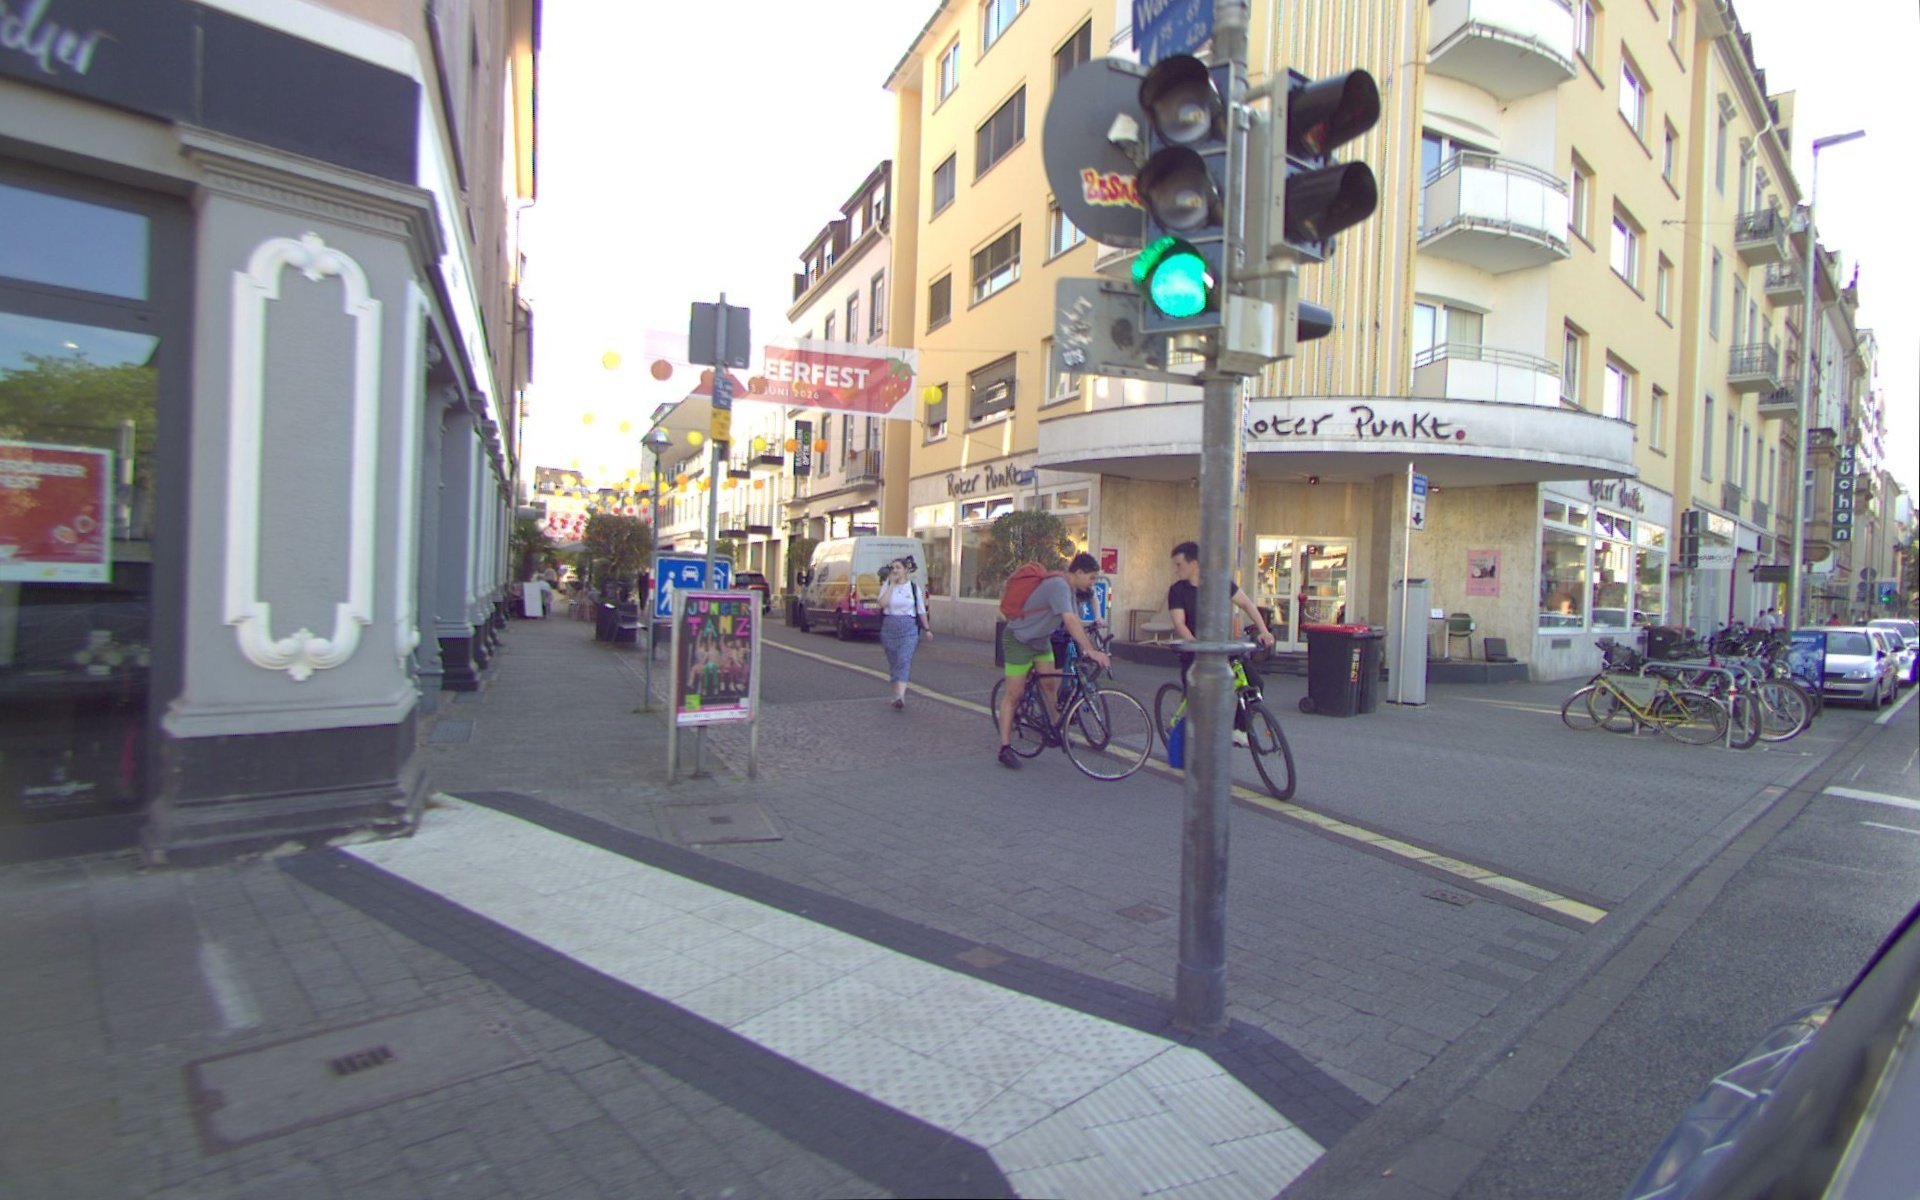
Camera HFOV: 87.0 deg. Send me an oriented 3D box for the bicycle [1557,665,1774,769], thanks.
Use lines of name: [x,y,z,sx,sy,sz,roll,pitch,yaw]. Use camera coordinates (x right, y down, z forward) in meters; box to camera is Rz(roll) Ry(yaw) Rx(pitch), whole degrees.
bicycle: [7.619,1.222,10.977,1.841,0.841,0.730,4,1,41]

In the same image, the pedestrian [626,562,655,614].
pedestrian: [-10.739,-0.417,34.027,0.796,1.701,0.672,3,0,-24]

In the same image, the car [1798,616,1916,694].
car: [19.441,1.121,21.885,1.737,1.443,3.937,3,1,43]

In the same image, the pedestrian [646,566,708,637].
pedestrian: [-6.213,0.024,22.192,1.089,1.498,1.086,1,1,-26]

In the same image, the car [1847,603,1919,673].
car: [27.941,1.112,30.216,1.991,1.902,3.942,3,1,40]

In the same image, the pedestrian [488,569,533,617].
pedestrian: [-12.314,-0.188,27.738,0.814,1.266,0.763,3,1,34]

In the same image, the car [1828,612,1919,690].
car: [23.665,1.261,25.840,1.994,1.756,4.132,3,1,44]

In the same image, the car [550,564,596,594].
car: [-21.105,-1.155,55.068,1.747,1.538,4.005,1,2,-30]

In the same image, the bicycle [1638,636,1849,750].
bicycle: [9.795,1.116,12.718,0.742,1.172,1.960,2,1,-43]

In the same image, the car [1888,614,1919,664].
car: [41.587,1.688,43.718,1.995,2.039,4.124,3,1,45]

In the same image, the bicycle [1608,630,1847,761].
bicycle: [8.921,1.051,11.831,2.136,1.259,0.700,4,1,42]

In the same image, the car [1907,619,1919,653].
car: [53.198,2.001,55.221,3.933,1.749,1.996,2,1,-44]

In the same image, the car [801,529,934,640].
car: [-2.438,-0.415,25.372,2.026,2.499,4.706,0,1,-22]

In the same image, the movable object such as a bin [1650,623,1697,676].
movable object such as a bin: [16.770,1.147,23.776,0.944,1.175,0.702,2,1,-43]

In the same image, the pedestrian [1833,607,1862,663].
pedestrian: [31.786,1.255,36.246,0.693,1.930,0.892,3,1,43]

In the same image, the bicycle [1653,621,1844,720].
bicycle: [11.291,0.972,14.553,0.671,1.196,2.047,2,1,-43]

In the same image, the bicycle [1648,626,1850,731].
bicycle: [10.636,1.012,13.712,0.703,1.164,2.025,2,2,-43]

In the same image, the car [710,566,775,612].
car: [-8.680,-0.462,40.144,1.860,1.660,4.124,3,1,-20]

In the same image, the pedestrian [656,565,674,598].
pedestrian: [-15.669,-0.969,53.777,0.796,1.701,0.672,3,0,-24]

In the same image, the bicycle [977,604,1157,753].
bicycle: [0.890,0.638,9.039,0.718,1.110,1.924,2,1,-23]

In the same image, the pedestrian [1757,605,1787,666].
pedestrian: [26.989,1.165,33.627,0.671,1.978,0.605,3,1,43]

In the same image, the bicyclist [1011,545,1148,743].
bicyclist: [1.015,0.352,8.796,0.711,1.603,1.033,2,1,-22]

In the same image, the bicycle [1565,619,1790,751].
bicycle: [8.029,0.893,11.368,1.939,1.227,0.919,4,1,41]

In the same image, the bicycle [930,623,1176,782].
bicycle: [0.691,0.738,7.820,1.807,1.006,0.558,3,1,31]

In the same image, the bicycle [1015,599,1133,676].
bicycle: [1.733,0.570,15.337,1.714,1.102,0.562,2,1,-28]

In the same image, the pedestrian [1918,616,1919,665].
pedestrian: [38.960,1.650,40.567,0.699,1.947,0.612,2,0,-32]

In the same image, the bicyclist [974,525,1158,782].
bicyclist: [0.810,0.354,7.667,1.131,1.783,0.746,3,0,28]

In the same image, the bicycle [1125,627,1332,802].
bicycle: [1.929,0.782,7.590,0.548,1.032,1.920,2,1,-16]

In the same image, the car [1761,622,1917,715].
car: [16.178,1.181,18.560,3.931,1.415,1.691,2,1,-43]

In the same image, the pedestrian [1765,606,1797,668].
pedestrian: [26.675,1.193,32.889,0.693,1.930,0.892,3,1,43]

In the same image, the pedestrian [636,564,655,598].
pedestrian: [-16.548,-1.000,53.271,0.796,1.701,0.672,3,0,-24]

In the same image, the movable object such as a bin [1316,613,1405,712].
movable object such as a bin: [4.921,0.747,12.445,0.610,1.126,0.808,2,1,-45]

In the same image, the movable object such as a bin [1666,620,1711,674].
movable object such as a bin: [18.003,1.145,25.004,0.944,1.255,0.702,2,1,-43]

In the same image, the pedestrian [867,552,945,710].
pedestrian: [-0.617,0.328,11.331,0.750,1.679,0.817,2,0,-7]

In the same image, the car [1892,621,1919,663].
car: [45.652,2.000,47.959,1.995,1.886,3.935,3,1,45]

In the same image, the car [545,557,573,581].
car: [-32.545,-2.491,82.049,1.958,1.785,4.611,3,1,-23]

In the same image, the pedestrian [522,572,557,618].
pedestrian: [-11.587,-0.140,27.893,0.802,1.207,1.131,3,1,-25]

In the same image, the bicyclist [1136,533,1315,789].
bicyclist: [1.898,0.402,7.383,0.711,1.706,1.135,2,1,-16]

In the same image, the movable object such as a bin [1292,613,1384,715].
movable object such as a bin: [4.472,0.735,11.975,0.610,1.126,0.808,2,1,-45]
